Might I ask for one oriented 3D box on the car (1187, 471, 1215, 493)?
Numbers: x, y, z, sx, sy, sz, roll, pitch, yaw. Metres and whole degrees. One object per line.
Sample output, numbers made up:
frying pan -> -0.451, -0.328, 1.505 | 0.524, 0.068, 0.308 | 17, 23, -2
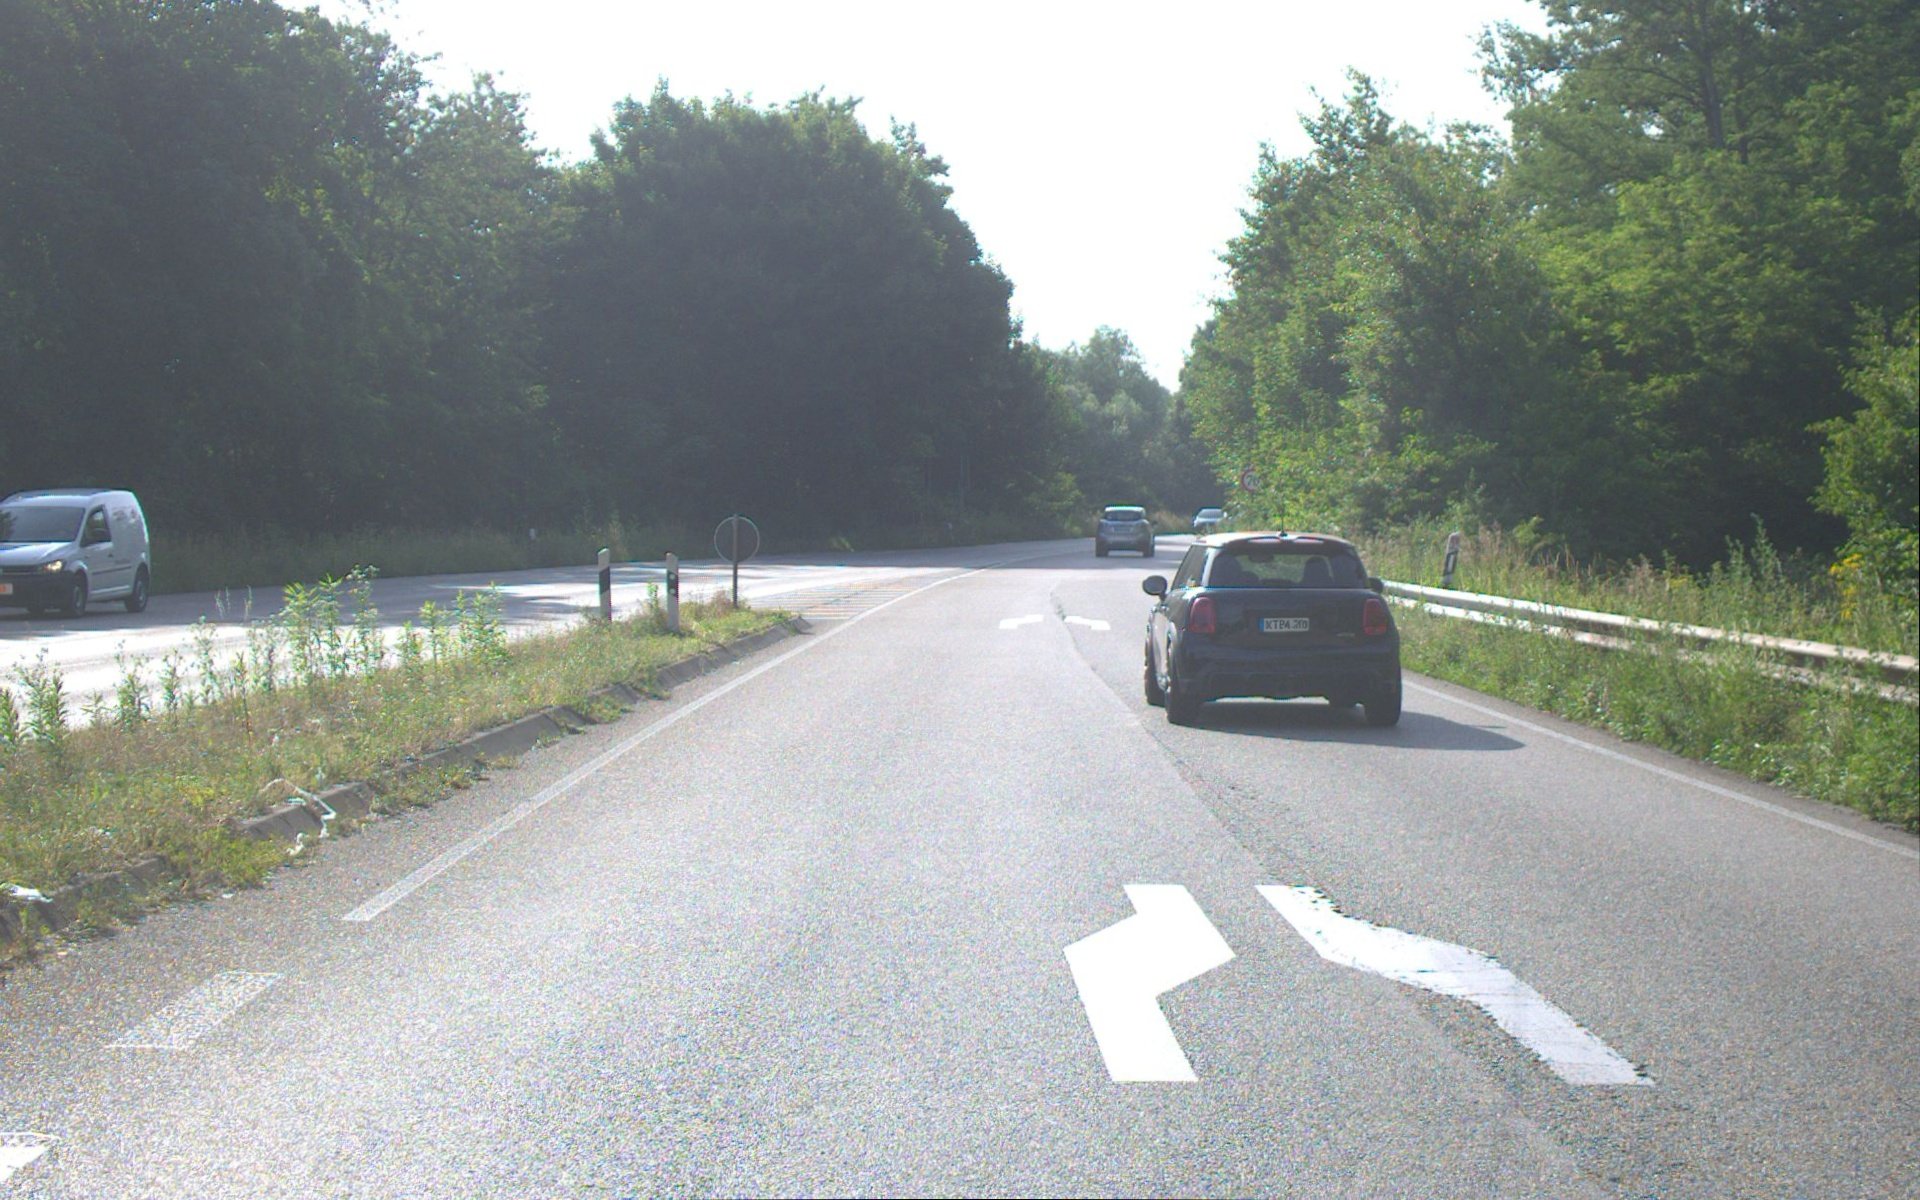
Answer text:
car -> 16.392, -7.993, 233.628 | 1.761, 1.375, 3.971 | 0, 0, 3

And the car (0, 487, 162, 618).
car -> -13.105, -0.663, 49.313 | 1.851, 1.780, 4.669 | 1, 0, 5

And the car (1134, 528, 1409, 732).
car -> 2.355, 0.213, 26.828 | 1.819, 1.463, 3.873 | 1, 0, 1

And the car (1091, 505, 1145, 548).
car -> 5.319, -2.465, 115.853 | 1.761, 1.375, 3.971 | 0, 0, 3
